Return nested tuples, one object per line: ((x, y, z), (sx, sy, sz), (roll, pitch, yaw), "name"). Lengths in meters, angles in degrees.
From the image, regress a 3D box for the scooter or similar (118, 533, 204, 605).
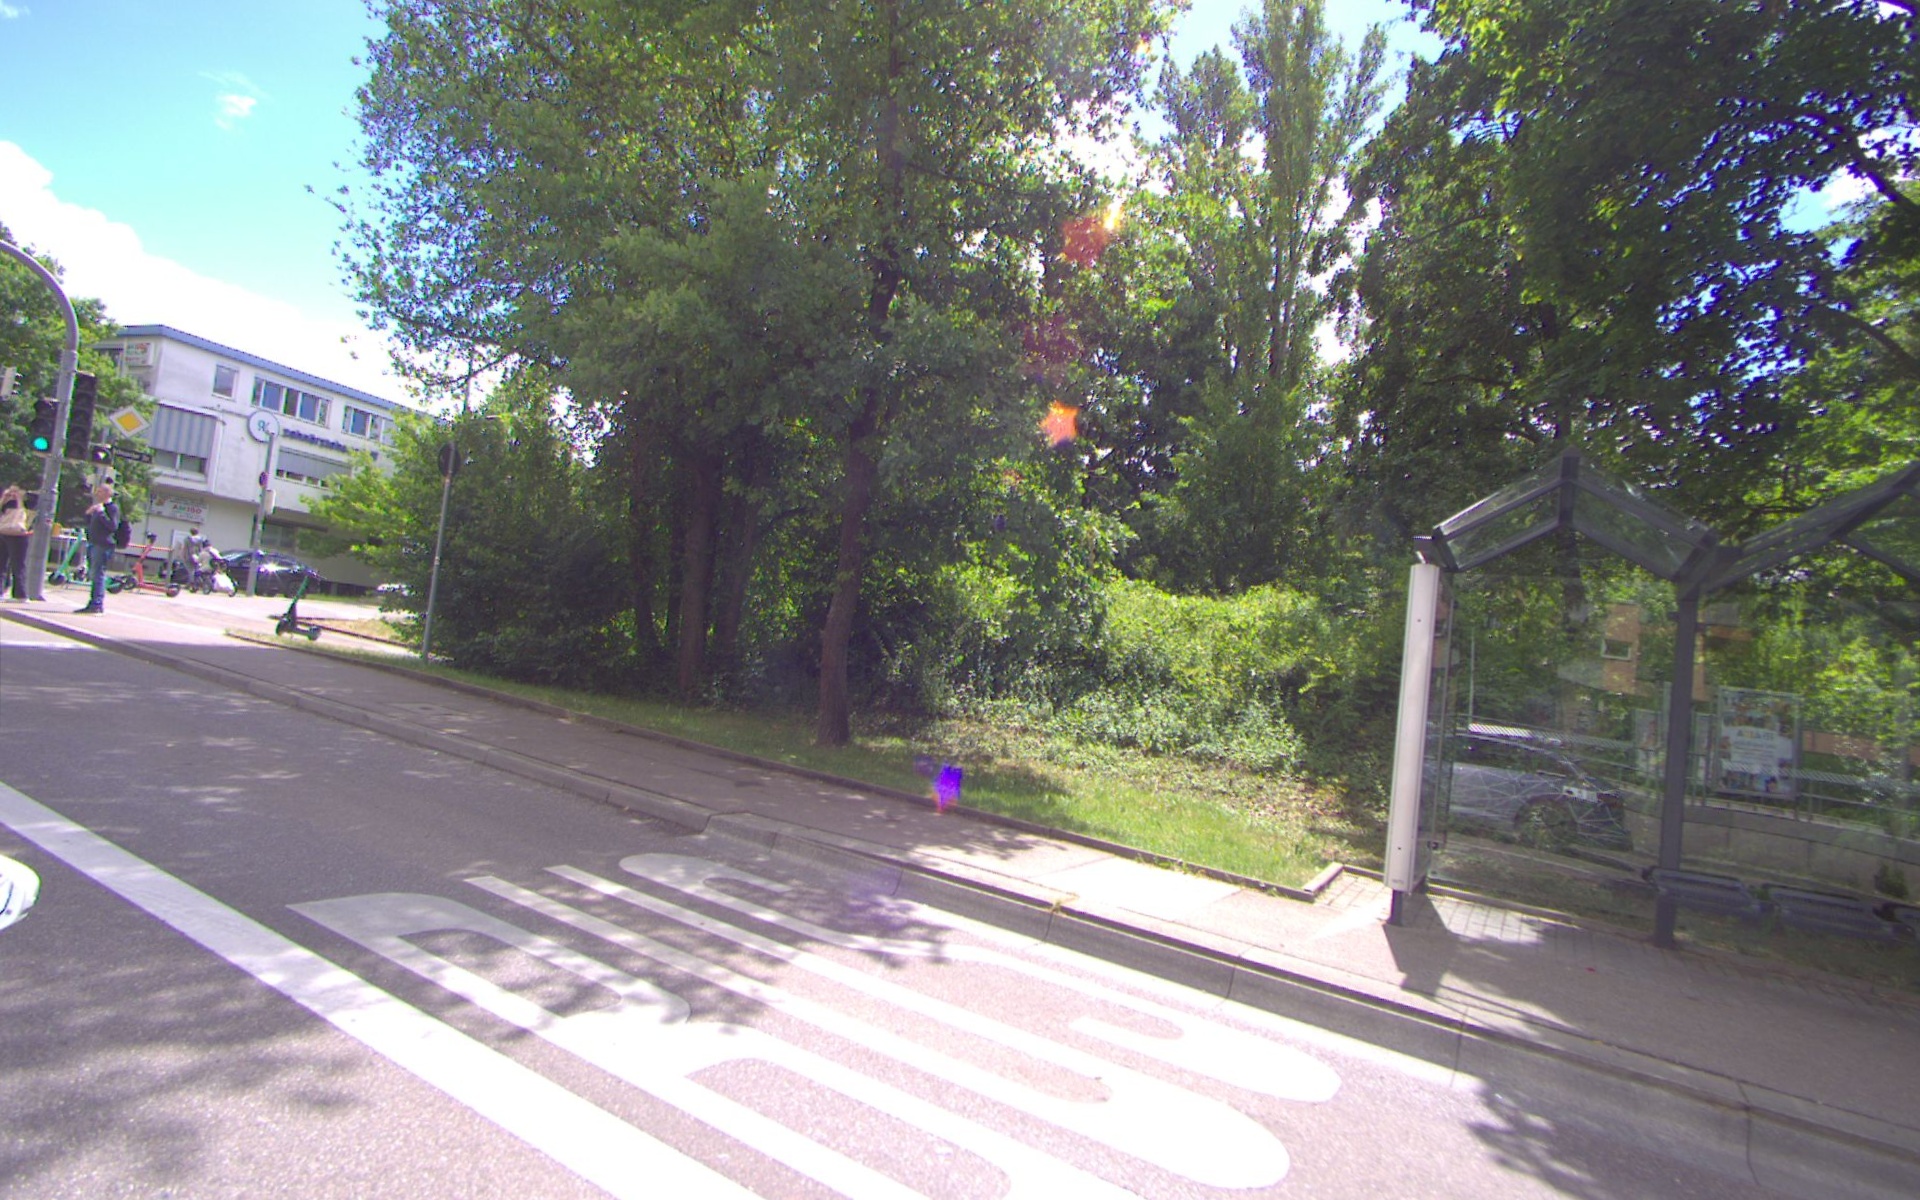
((-16.601, -0.630, 20.920), (0.546, 1.286, 1.153), (6, -3, 34), "scooter or similar")

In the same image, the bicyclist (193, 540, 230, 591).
((-18.299, -0.840, 24.607), (0.392, 1.170, 0.503), (7, -1, -2), "bicyclist")

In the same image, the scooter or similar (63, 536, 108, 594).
((-18.056, -0.726, 20.755), (0.546, 1.076, 1.246), (8, -2, -44), "scooter or similar")

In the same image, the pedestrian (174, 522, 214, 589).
((-21.029, -1.218, 27.624), (0.652, 1.733, 0.458), (8, -1, -32), "pedestrian")

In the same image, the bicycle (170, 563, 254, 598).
((-18.291, -0.465, 24.611), (1.562, 0.617, 0.534), (8, -1, -2), "bicycle")

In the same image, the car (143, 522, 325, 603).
((-24.947, -1.242, 34.761), (1.964, 2.036, 4.552), (7, -3, 25), "car")

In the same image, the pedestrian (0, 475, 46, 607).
((-14.302, -0.892, 15.078), (0.510, 1.898, 0.636), (7, -1, 38), "pedestrian")

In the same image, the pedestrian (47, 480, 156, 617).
((-12.934, -0.772, 15.160), (0.996, 1.898, 0.797), (7, -1, 32), "pedestrian")

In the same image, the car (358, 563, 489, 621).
((-22.241, -0.269, 41.908), (1.964, 1.784, 4.388), (6, -3, 23), "car")

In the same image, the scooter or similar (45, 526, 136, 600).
((-16.636, -0.699, 19.268), (0.531, 1.249, 1.111), (6, -2, 34), "scooter or similar")

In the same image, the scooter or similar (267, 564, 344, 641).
((-12.065, 0.057, 18.557), (0.447, 1.242, 0.893), (7, -6, 32), "scooter or similar")
